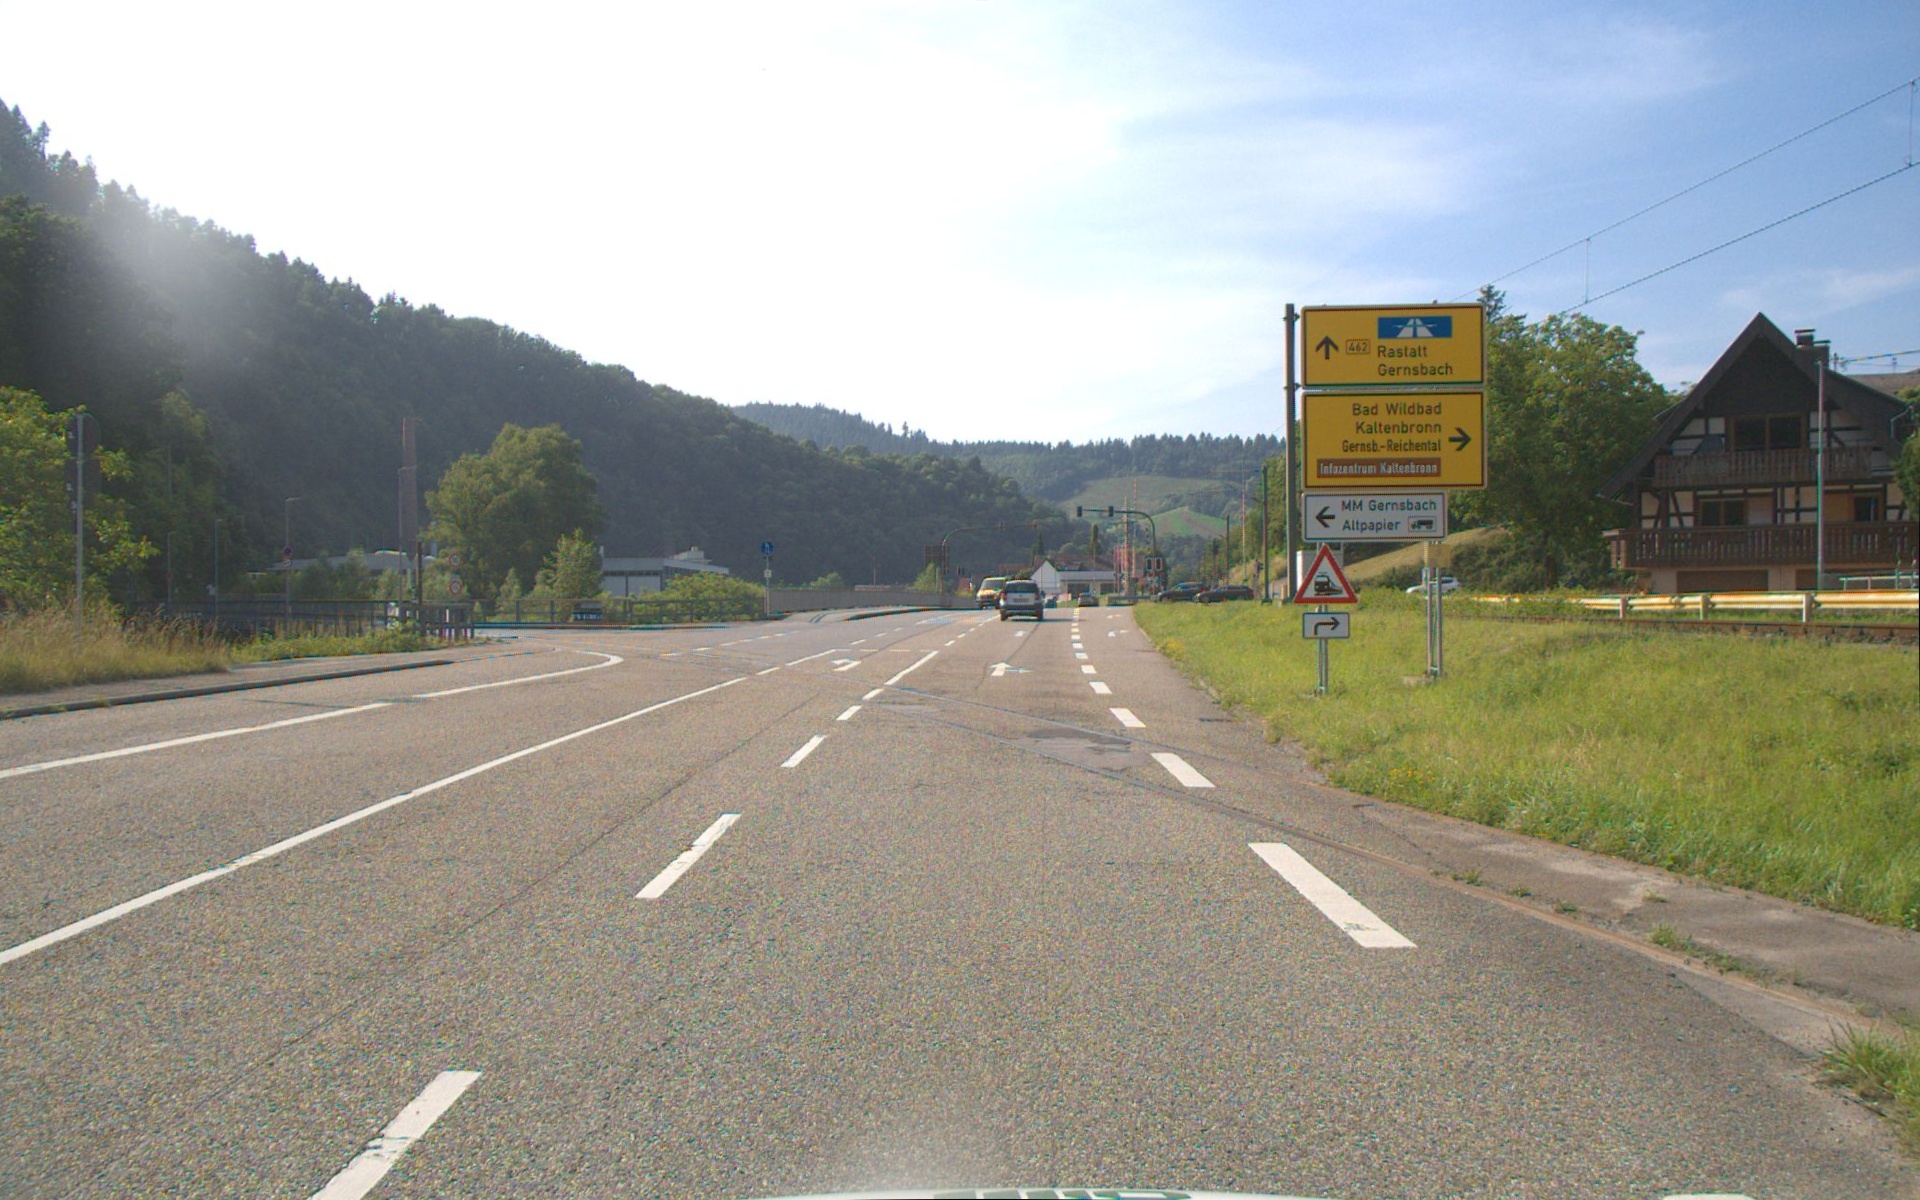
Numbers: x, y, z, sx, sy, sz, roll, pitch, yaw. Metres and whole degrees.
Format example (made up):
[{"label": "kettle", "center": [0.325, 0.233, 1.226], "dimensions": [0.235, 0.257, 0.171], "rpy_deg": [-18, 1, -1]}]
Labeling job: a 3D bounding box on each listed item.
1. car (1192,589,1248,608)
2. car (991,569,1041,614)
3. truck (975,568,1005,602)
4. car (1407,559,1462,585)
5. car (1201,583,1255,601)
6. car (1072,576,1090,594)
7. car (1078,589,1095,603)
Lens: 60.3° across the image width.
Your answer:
[{"label": "car", "center": [19.871, -0.098, 126.402], "dimensions": [3.903, 1.378, 1.879], "rpy_deg": [-1, 1, 19]}, {"label": "car", "center": [2.368, -0.374, 69.220], "dimensions": [1.952, 1.753, 3.991], "rpy_deg": [-2, 0, 2]}, {"label": "truck", "center": [2.254, -1.146, 121.600], "dimensions": [1.952, 2.384, 5.701], "rpy_deg": [-1, 1, 3]}, {"label": "car", "center": [35.774, -2.111, 124.648], "dimensions": [3.903, 1.914, 1.879], "rpy_deg": [-1, 1, 19]}, {"label": "car", "center": [20.868, -0.612, 128.869], "dimensions": [3.903, 1.378, 1.879], "rpy_deg": [-1, 1, 19]}, {"label": "car", "center": [13.725, -1.721, 188.266], "dimensions": [1.952, 2.049, 4.002], "rpy_deg": [-1, 1, 3]}, {"label": "car", "center": [15.417, -0.490, 201.520], "dimensions": [1.952, 1.646, 4.002], "rpy_deg": [-1, 1, 3]}]
